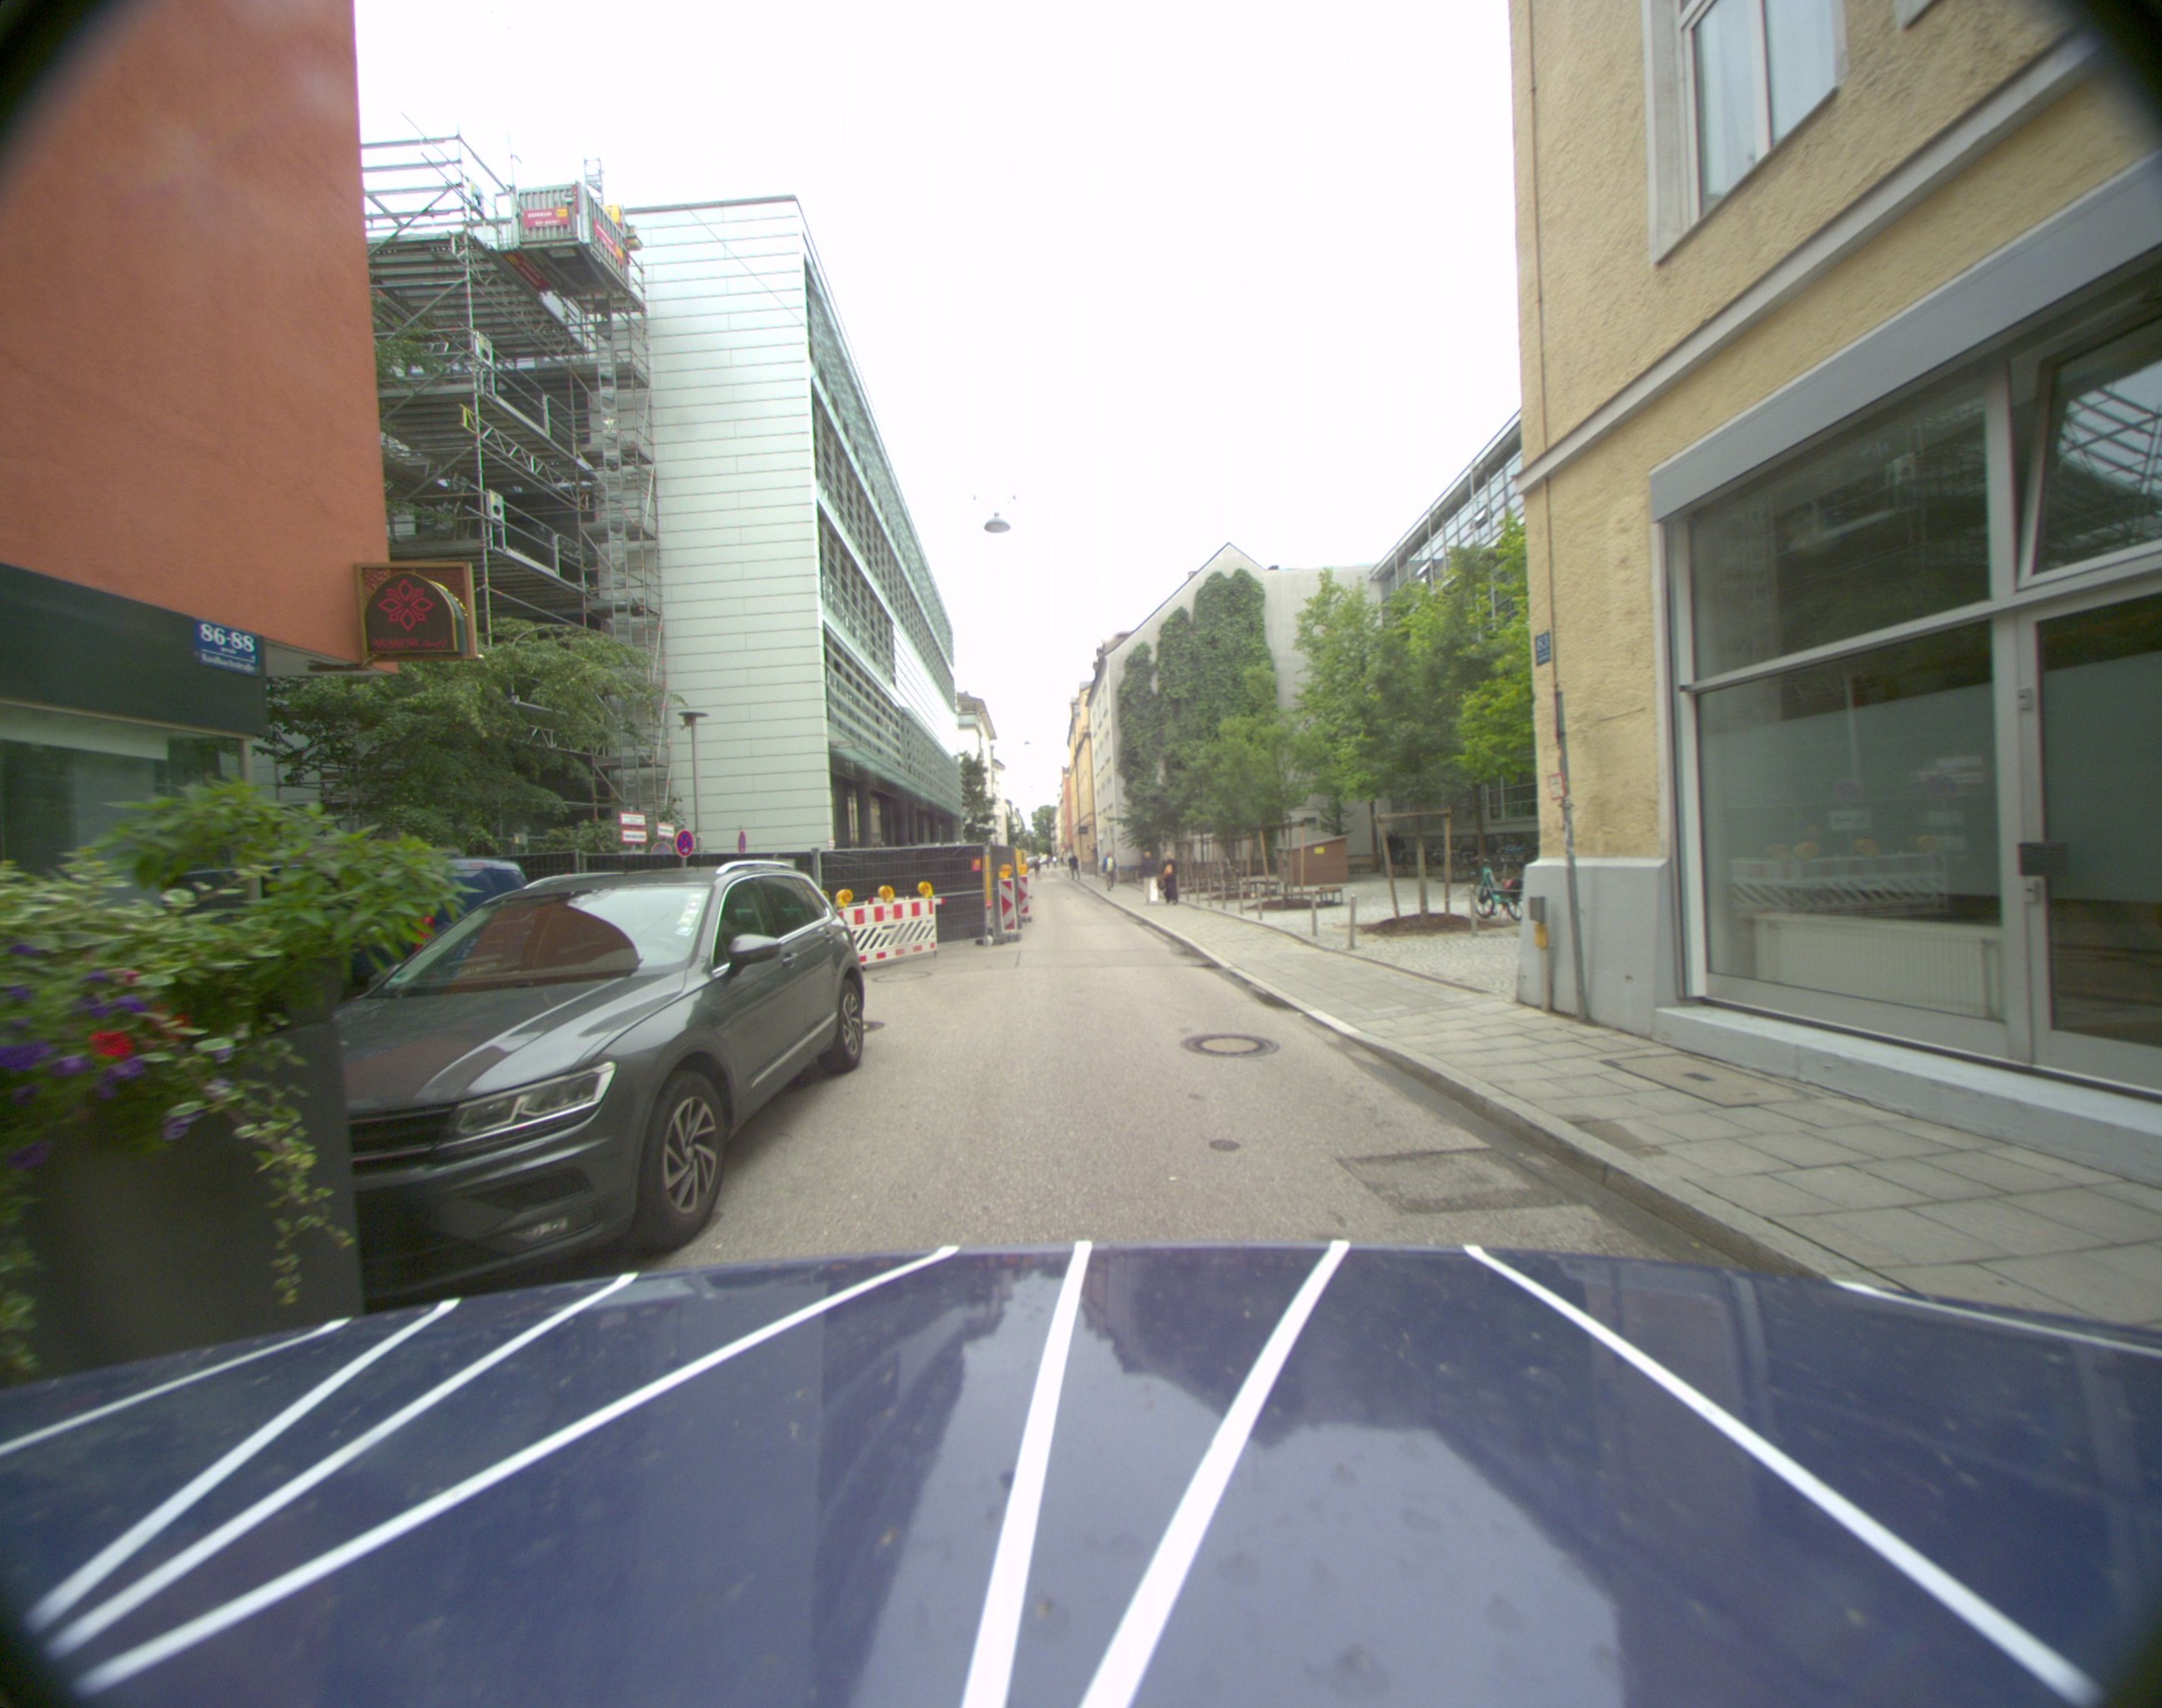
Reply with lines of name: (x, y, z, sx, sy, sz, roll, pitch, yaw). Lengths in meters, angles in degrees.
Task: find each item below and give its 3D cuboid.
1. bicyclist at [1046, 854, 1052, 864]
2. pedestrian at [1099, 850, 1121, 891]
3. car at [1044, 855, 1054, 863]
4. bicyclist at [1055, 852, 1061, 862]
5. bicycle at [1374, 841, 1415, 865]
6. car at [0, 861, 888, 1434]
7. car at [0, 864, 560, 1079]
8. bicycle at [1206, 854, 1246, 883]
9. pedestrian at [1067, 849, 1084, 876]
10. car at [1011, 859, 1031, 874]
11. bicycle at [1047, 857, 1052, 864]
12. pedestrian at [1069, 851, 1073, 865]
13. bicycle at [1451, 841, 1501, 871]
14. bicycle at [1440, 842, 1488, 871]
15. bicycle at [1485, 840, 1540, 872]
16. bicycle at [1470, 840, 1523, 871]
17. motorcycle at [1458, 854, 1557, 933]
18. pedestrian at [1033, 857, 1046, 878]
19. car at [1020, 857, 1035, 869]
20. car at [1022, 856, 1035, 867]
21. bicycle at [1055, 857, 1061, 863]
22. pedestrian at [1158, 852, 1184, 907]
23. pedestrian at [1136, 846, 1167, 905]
bicyclist: (-4.623, 0.677, 110.317, 0.700, 1.399, 0.768, -3, 1, -4)
pedestrian: (1.336, 0.739, 35.334, 0.861, 1.834, 0.974, -4, 1, -1)
car: (-6.675, 0.983, 158.776, 1.999, 1.583, 4.373, -3, 0, -3)
bicyclist: (-3.418, 0.414, 111.865, 0.718, 1.399, 0.965, -3, 1, -4)
bicycle: (15.665, -0.049, 37.982, 1.725, 1.135, 0.603, -3, 1, 3)
car: (-2.669, 0.974, 4.675, 1.829, 1.700, 4.388, -4, 0, -1)
car: (-8.158, 1.055, 7.612, 4.474, 1.710, 1.840, -2, 0, -3)
bicycle: (6.479, 0.652, 34.033, 0.714, 1.201, 1.995, -5, 1, -21)
pedestrian: (-0.396, 0.601, 53.442, 0.746, 1.891, 0.877, -4, 1, -35)
car: (-5.903, 1.205, 75.644, 1.810, 1.390, 3.999, -3, 0, -3)
bicycle: (-4.606, 0.994, 110.390, 0.700, 0.976, 1.948, -3, 0, -4)
pedestrian: (-1.195, 0.501, 91.790, 0.386, 1.666, 0.448, -2, 1, -5)
bicycle: (15.472, 0.071, 29.783, 1.575, 1.054, 0.629, -3, 0, 1)
bicycle: (15.407, 0.107, 30.602, 1.575, 1.054, 0.629, -3, 0, 1)
bicycle: (15.508, 0.057, 27.312, 1.575, 1.054, 0.629, -3, 0, 1)
bicycle: (15.376, 0.058, 28.137, 1.575, 1.054, 0.629, -3, 0, 1)
motorcycle: (7.135, 0.621, 12.832, 0.577, 1.166, 1.981, -4, 1, 3)
pedestrian: (-3.250, 1.047, 59.325, 0.712, 1.542, 0.775, -4, 1, -25)
car: (-6.495, 1.107, 92.593, 1.625, 1.259, 4.328, -3, 0, -3)
car: (-7.940, 1.092, 115.122, 1.794, 1.550, 3.999, -3, 0, -3)
bicycle: (-3.381, 0.889, 111.914, 0.700, 0.926, 1.693, -3, 0, -4)
pedestrian: (2.780, 0.767, 23.443, 0.554, 1.650, 0.997, -3, 1, -3)
pedestrian: (2.260, 0.676, 24.486, 0.778, 1.826, 0.991, -3, 1, -3)
